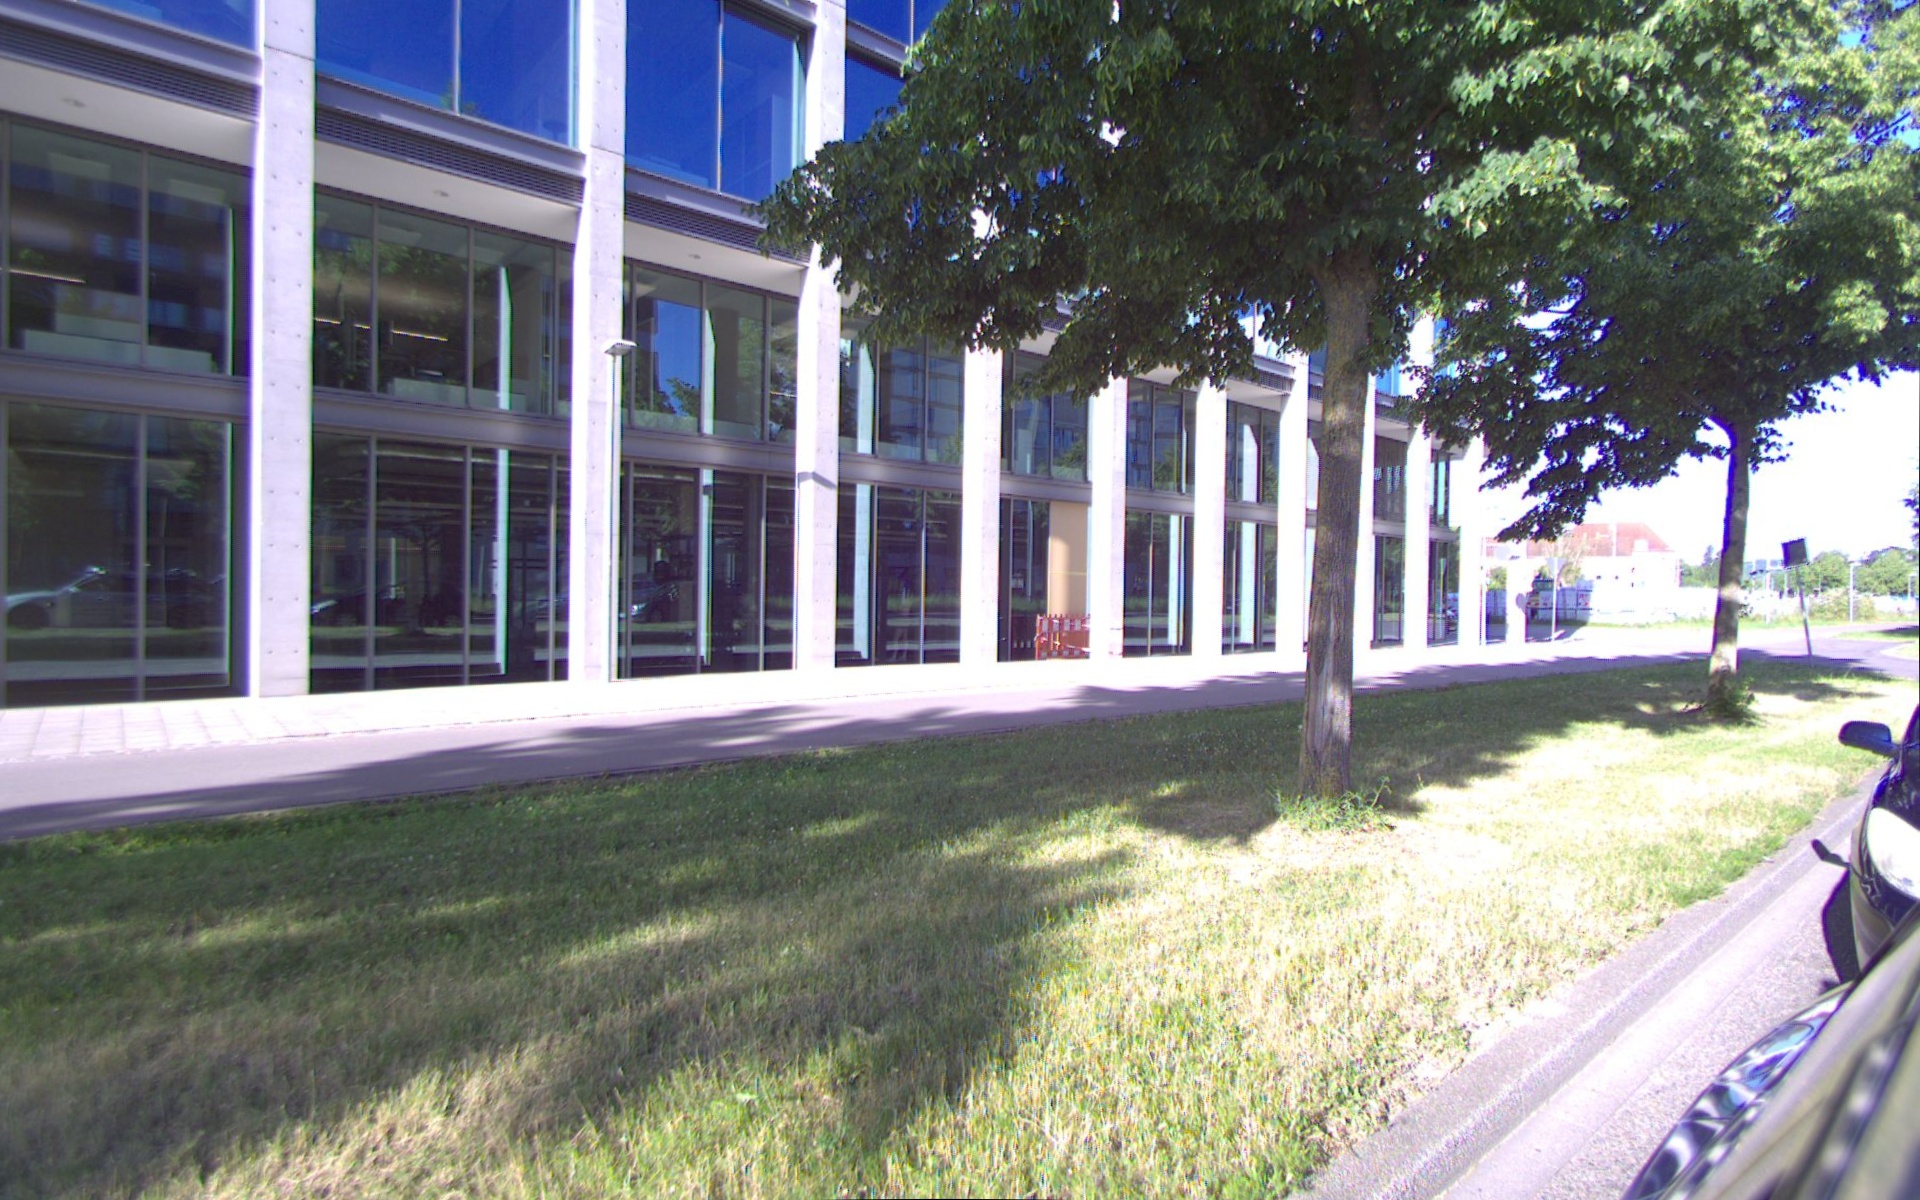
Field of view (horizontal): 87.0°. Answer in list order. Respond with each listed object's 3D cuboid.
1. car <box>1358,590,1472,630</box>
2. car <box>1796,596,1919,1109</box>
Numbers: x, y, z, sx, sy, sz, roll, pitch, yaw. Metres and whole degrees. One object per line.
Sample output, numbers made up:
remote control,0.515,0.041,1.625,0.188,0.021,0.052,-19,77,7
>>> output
car,19.497,0.394,43.481,1.963,1.598,3.997,0,1,-38
car,4.891,0.751,3.926,4.403,1.500,1.845,0,1,-41
